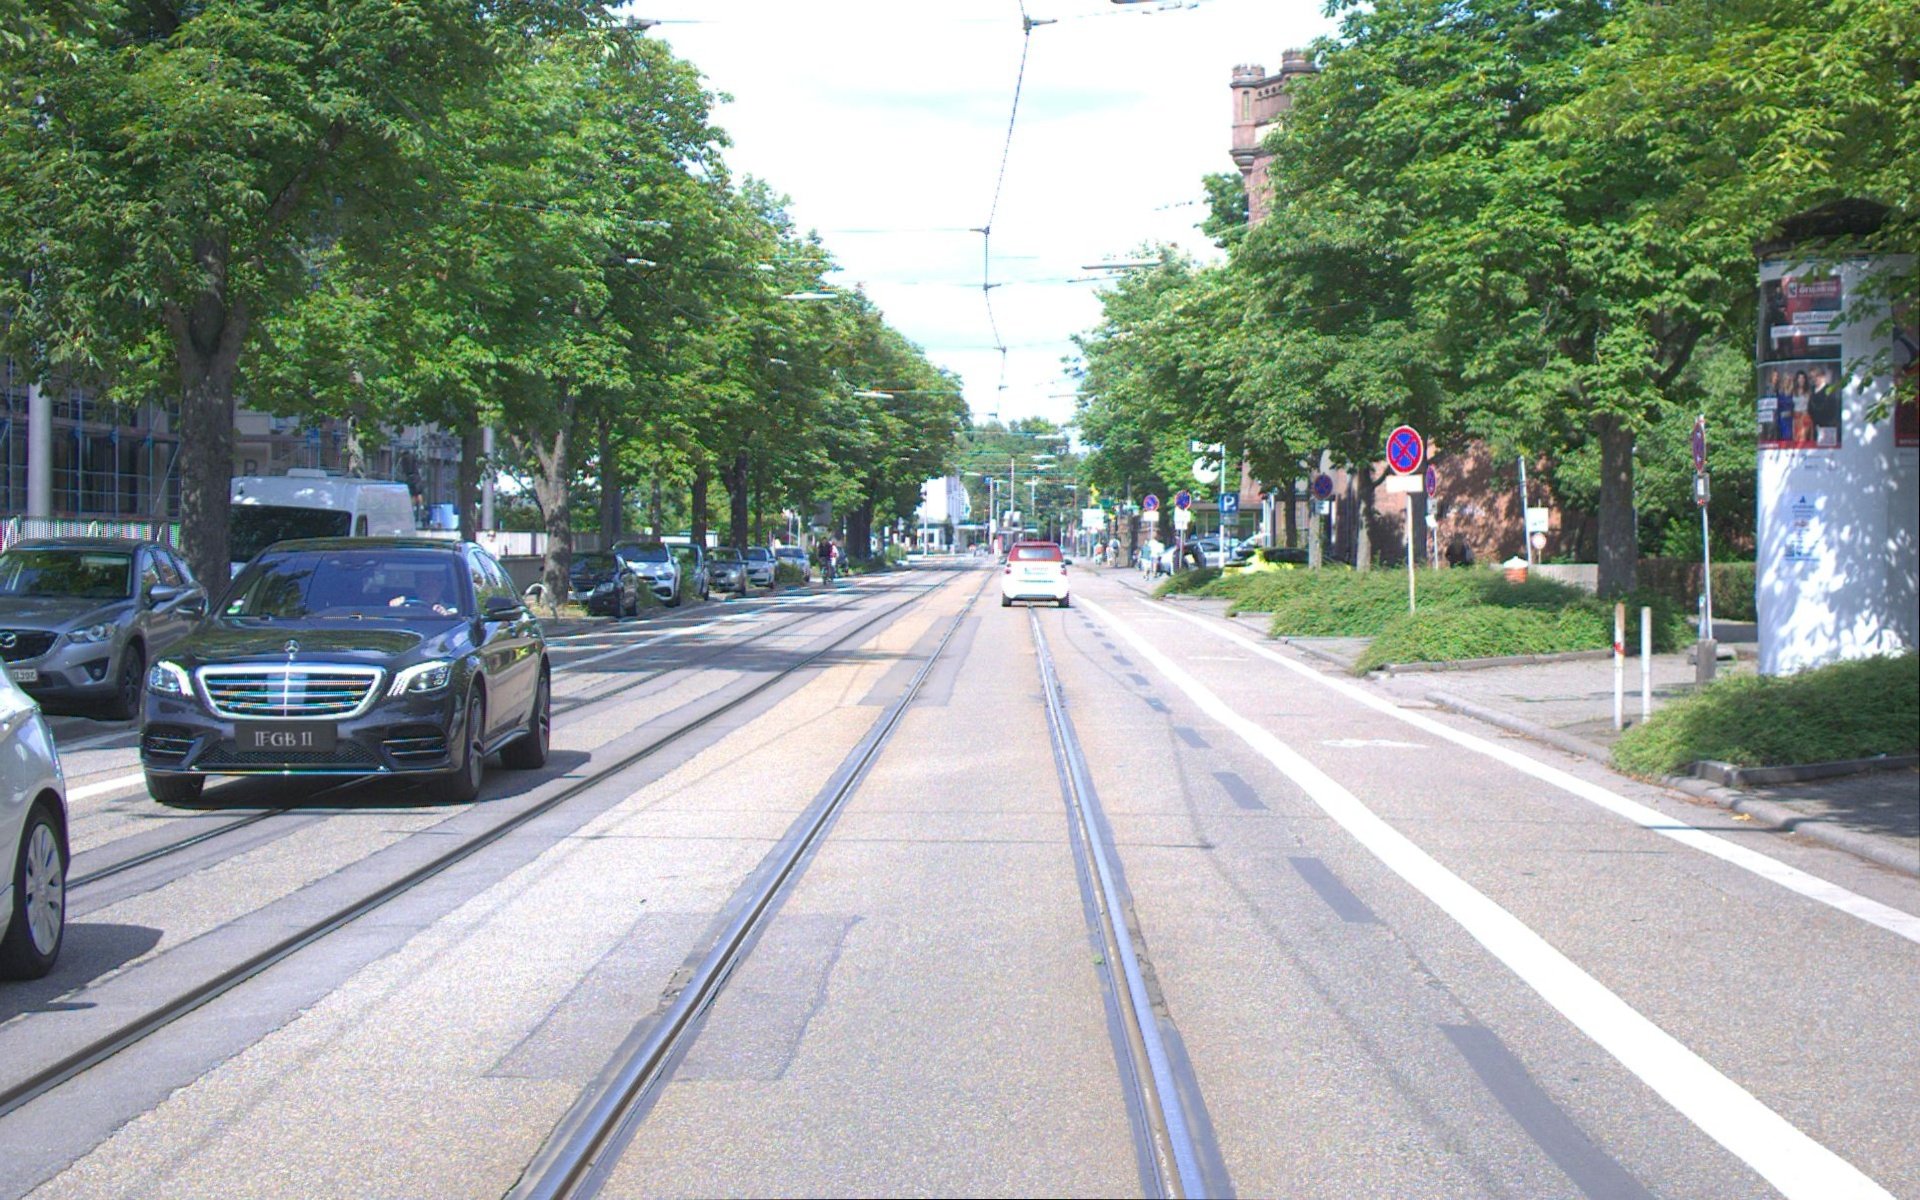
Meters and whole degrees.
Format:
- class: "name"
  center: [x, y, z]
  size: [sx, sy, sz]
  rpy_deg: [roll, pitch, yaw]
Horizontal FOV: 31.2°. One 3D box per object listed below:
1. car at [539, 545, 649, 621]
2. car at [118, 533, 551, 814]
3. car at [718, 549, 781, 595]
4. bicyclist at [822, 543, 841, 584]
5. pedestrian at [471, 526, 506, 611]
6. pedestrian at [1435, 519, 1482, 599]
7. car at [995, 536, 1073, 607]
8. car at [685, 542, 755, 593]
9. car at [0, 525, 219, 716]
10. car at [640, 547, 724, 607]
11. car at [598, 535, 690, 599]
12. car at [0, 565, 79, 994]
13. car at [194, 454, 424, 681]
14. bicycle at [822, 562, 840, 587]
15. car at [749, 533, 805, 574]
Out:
- class: "car"
  center: [-7.750, -0.387, 73.156]
  size: [1.804, 1.511, 4.103]
  rpy_deg: [2, 1, 1]
- class: "car"
  center: [-3.676, 0.371, 20.991]
  size: [1.800, 1.503, 4.536]
  rpy_deg: [1, 1, 0]
- class: "car"
  center: [-7.234, -0.972, 118.240]
  size: [1.804, 1.511, 4.103]
  rpy_deg: [2, 1, 1]
- class: "bicyclist"
  center: [-4.964, -1.405, 132.499]
  size: [0.658, 1.574, 0.946]
  rpy_deg: [2, 1, -1]
- class: "pedestrian"
  center: [-11.274, -0.750, 82.180]
  size: [0.802, 2.007, 0.485]
  rpy_deg: [0, 1, -8]
- class: "pedestrian"
  center: [12.780, -1.048, 88.177]
  size: [0.977, 2.007, 1.093]
  rpy_deg: [2, 1, 0]
- class: "car"
  center: [1.731, -0.687, 81.611]
  size: [1.665, 1.619, 3.621]
  rpy_deg: [0, 1, -2]
- class: "car"
  center: [-7.378, -1.029, 105.811]
  size: [1.804, 1.511, 4.103]
  rpy_deg: [1, 1, 1]
- class: "car"
  center: [-8.426, 0.141, 32.640]
  size: [1.804, 1.656, 4.103]
  rpy_deg: [2, 1, 1]
- class: "car"
  center: [-7.378, -0.621, 91.562]
  size: [1.804, 1.511, 4.103]
  rpy_deg: [2, 1, 1]
- class: "car"
  center: [-7.660, -0.825, 83.612]
  size: [1.804, 1.511, 4.103]
  rpy_deg: [1, 1, 1]
- class: "car"
  center: [-3.962, 0.619, 10.254]
  size: [1.686, 1.401, 4.227]
  rpy_deg: [-2, 1, -2]
- class: "car"
  center: [-8.113, -0.420, 43.302]
  size: [1.769, 2.630, 5.322]
  rpy_deg: [2, 1, 1]
- class: "bicycle"
  center: [-4.964, -0.987, 132.479]
  size: [0.618, 0.970, 1.717]
  rpy_deg: [1, 1, 0]
- class: "car"
  center: [-6.868, -1.763, 129.418]
  size: [1.804, 1.511, 4.103]
  rpy_deg: [1, 1, 1]
